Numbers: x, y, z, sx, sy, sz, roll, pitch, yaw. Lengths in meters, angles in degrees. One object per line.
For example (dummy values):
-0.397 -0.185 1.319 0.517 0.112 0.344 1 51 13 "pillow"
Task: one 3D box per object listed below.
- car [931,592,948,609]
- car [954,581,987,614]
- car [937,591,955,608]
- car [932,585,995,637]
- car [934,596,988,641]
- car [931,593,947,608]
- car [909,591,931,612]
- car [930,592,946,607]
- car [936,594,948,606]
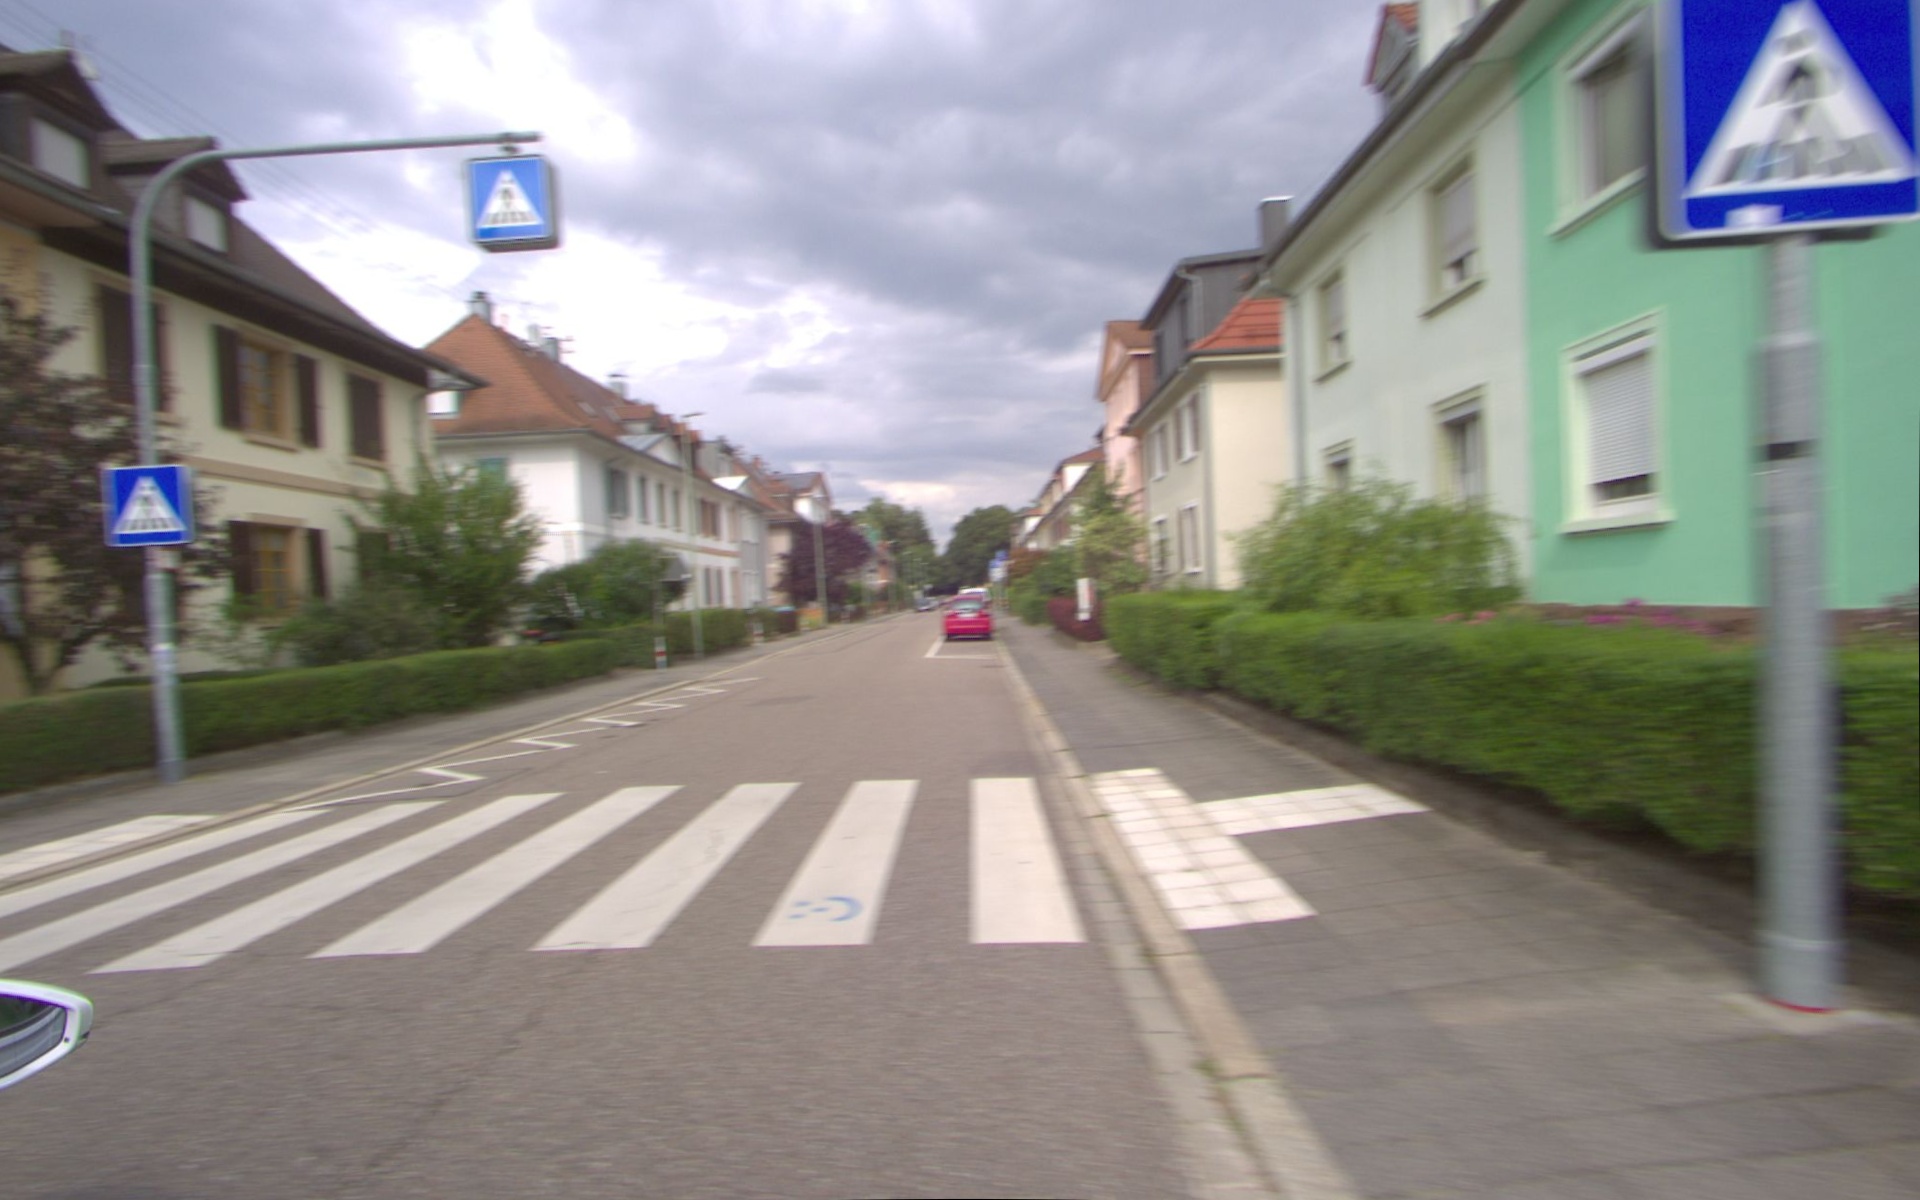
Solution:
-2.573 0.086 124.740 1.961 2.040 3.999 -1 0 1 "car"
0.645 -0.176 62.612 1.961 1.929 3.999 -3 0 0 "car"
-1.572 -0.042 109.892 1.701 1.728 3.999 -1 0 -4 "car"
0.121 0.360 34.385 1.961 1.595 3.999 -3 0 0 "car"
0.051 0.686 39.620 1.961 1.595 3.999 -3 0 0 "car"
-2.788 0.060 134.654 1.961 2.040 3.999 -1 0 1 "car"
-4.049 0.120 102.511 1.961 2.040 3.999 -2 0 1 "car"
-3.021 -0.102 140.472 1.961 2.040 3.999 -1 0 3 "car"
-2.988 -0.006 167.888 1.961 2.040 3.999 -1 0 1 "car"
